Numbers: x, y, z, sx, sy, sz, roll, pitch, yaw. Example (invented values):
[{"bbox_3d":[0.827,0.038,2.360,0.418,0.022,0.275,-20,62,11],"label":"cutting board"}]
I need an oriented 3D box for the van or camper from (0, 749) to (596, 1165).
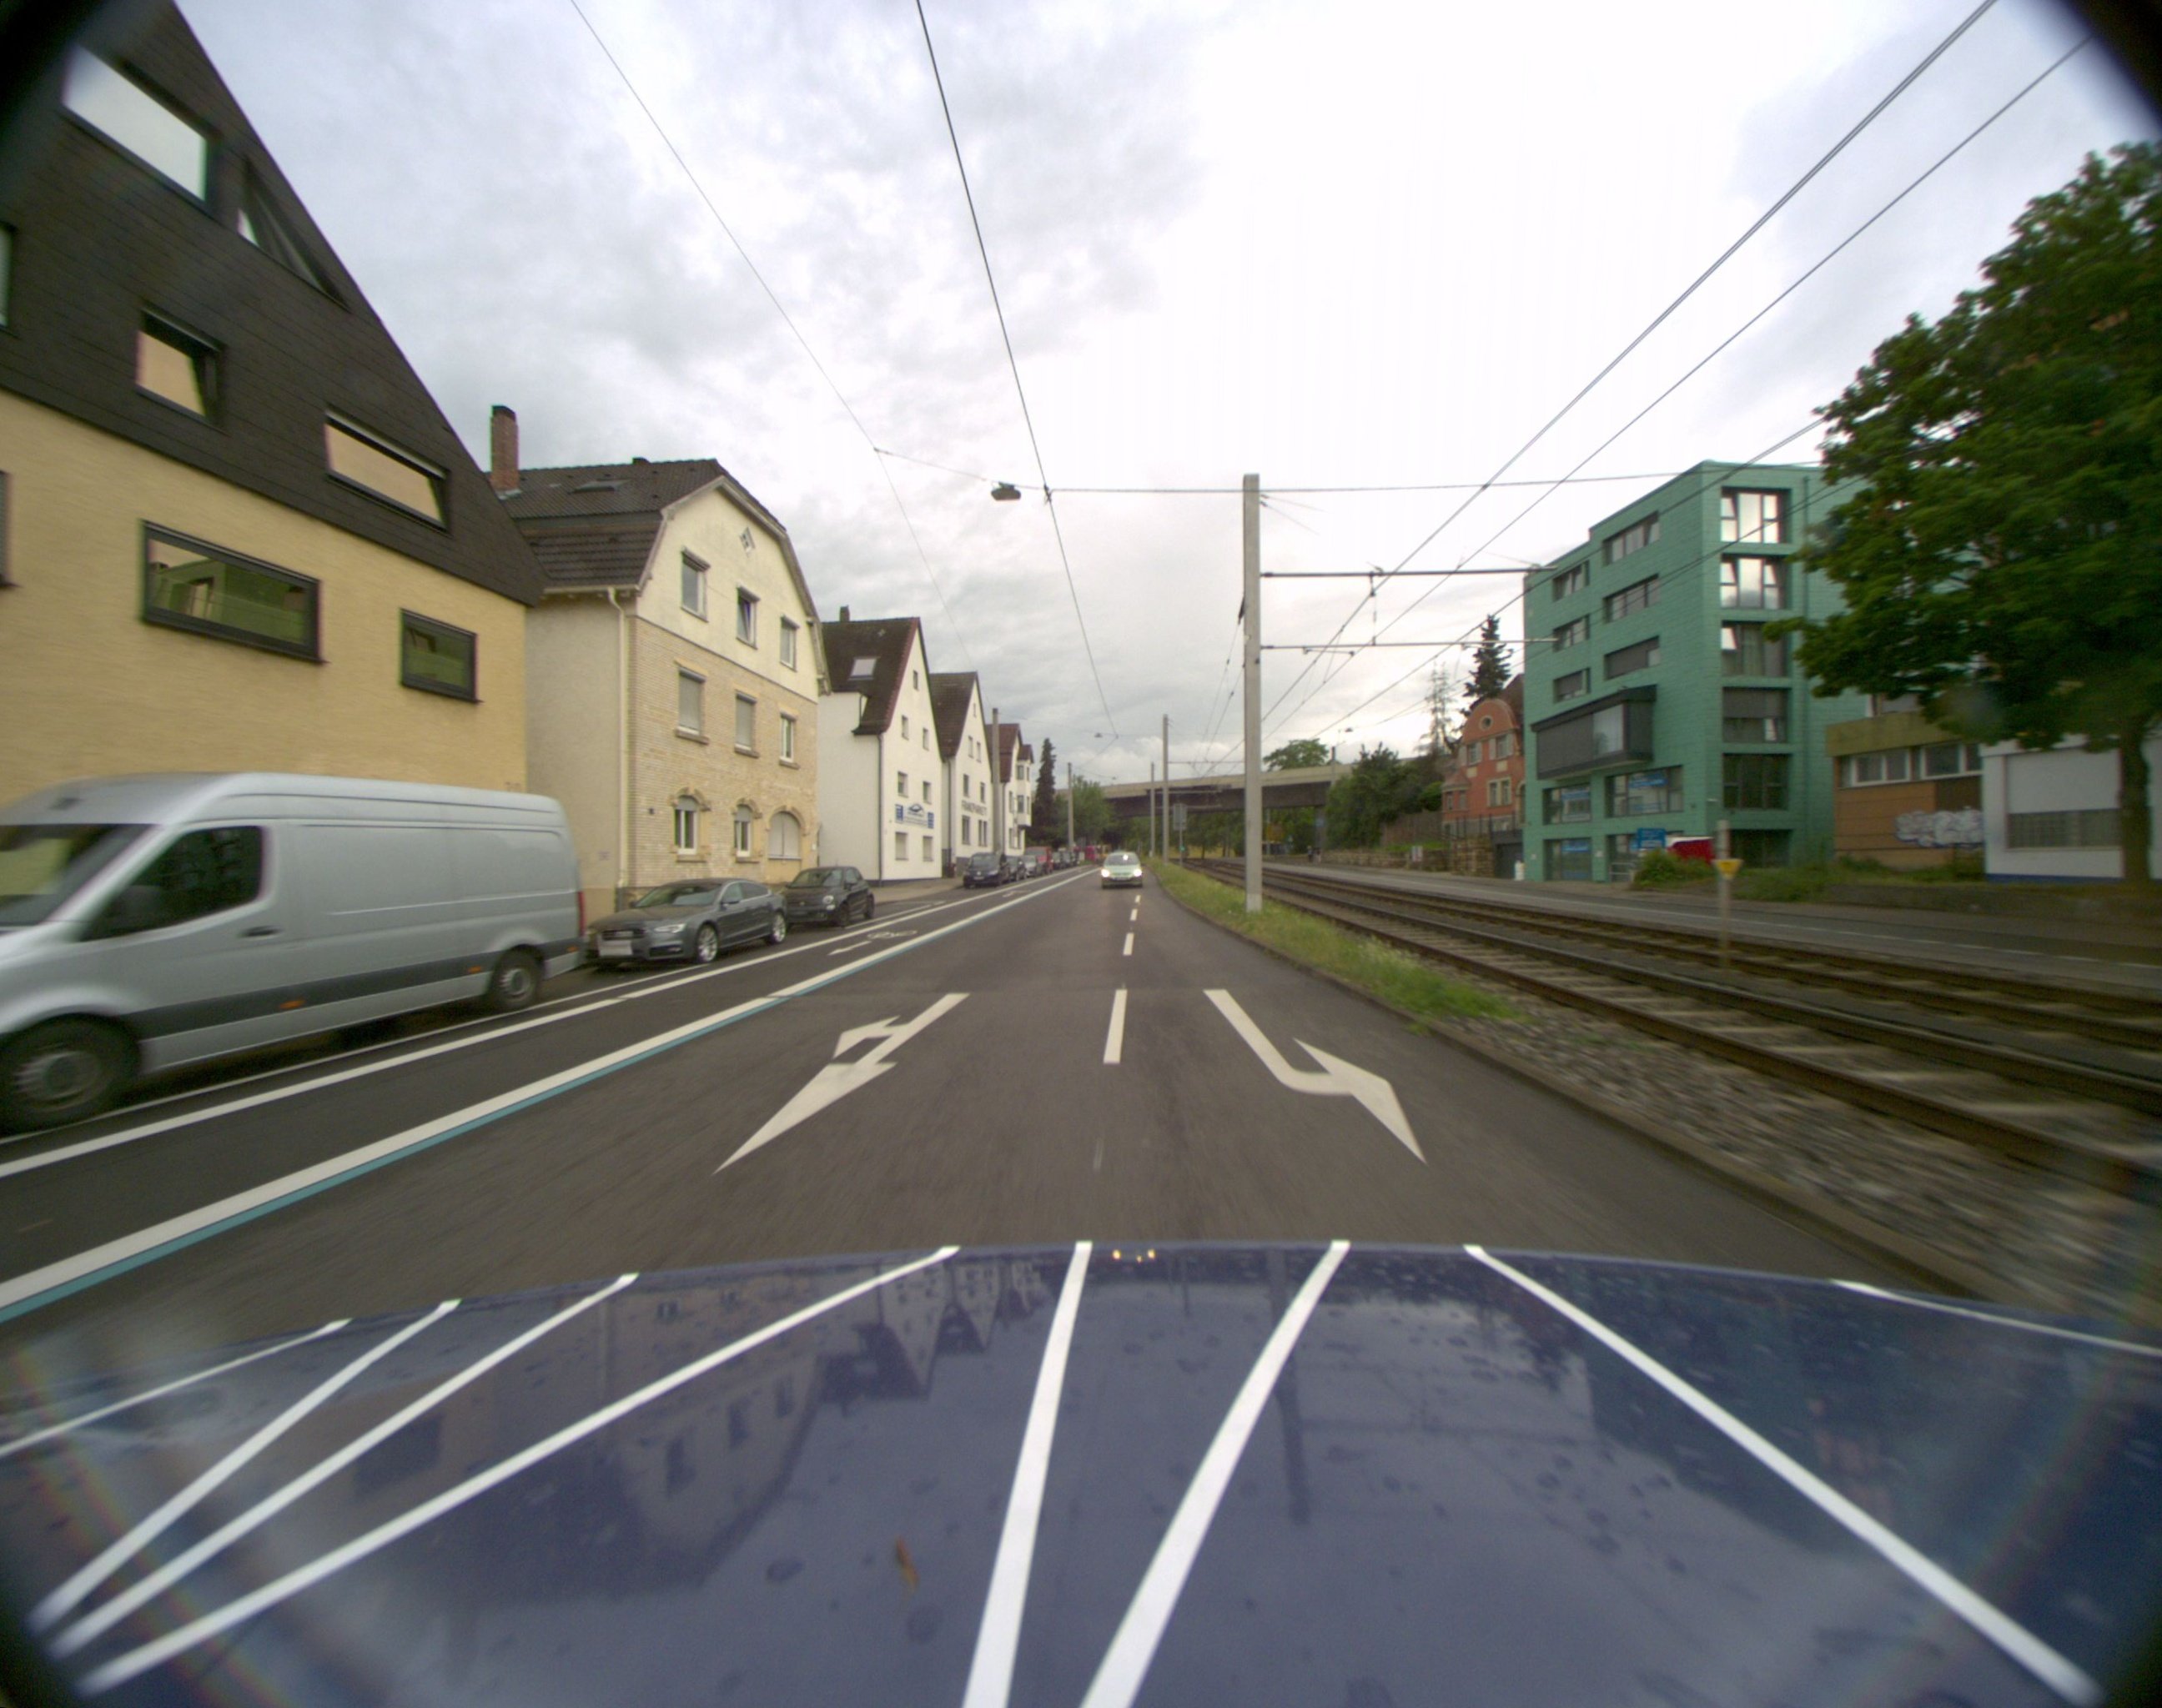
[{"bbox_3d":[-7.490,0.673,6.782,1.998,2.548,6.045,-2,0,4],"label":"van or camper"}]

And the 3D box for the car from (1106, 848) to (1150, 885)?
[{"bbox_3d":[1.978,0.540,32.733,1.780,1.492,4.001,0,-1,3],"label":"car"}]

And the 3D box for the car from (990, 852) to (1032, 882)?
[{"bbox_3d":[-3.960,0.694,43.542,1.637,1.529,4.136,-3,1,4],"label":"car"}]

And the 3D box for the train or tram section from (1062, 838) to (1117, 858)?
[{"bbox_3d":[1.549,-1.202,166.118,2.881,3.938,19.287,-3,1,-28],"label":"train or tram section"}]

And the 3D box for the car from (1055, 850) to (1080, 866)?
[{"bbox_3d":[-1.234,0.339,70.733,1.715,1.404,4.566,-1,1,6],"label":"car"}]

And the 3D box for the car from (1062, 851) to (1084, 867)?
[{"bbox_3d":[-0.798,0.471,76.178,1.680,1.415,4.566,-2,1,6],"label":"car"}]

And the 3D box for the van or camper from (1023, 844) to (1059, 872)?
[{"bbox_3d":[-2.835,0.238,54.738,1.855,1.909,4.995,0,1,5],"label":"van or camper"}]

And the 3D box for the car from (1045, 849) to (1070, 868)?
[{"bbox_3d":[-1.997,0.368,65.660,1.581,1.443,3.720,0,2,6],"label":"car"}]

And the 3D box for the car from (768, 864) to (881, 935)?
[{"bbox_3d":[-6.433,1.073,19.436,1.569,1.489,3.512,-3,1,1],"label":"car"}]

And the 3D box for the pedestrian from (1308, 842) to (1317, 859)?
[{"bbox_3d":[22.938,-0.383,75.350,0.695,1.660,0.888,-2,0,7],"label":"pedestrian"}]

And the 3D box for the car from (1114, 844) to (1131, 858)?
[{"bbox_3d":[4.560,-0.297,84.212,1.780,1.493,4.000,-1,1,2],"label":"car"}]

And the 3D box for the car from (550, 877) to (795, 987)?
[{"bbox_3d":[-6.892,1.223,13.509,1.793,1.398,4.552,-3,0,1],"label":"car"}]

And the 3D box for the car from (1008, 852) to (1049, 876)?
[{"bbox_3d":[-3.345,0.607,49.246,1.800,1.368,4.672,-1,1,7],"label":"car"}]

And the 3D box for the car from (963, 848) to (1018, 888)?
[{"bbox_3d":[-4.523,0.659,38.604,1.843,1.790,4.687,-3,1,4],"label":"car"}]

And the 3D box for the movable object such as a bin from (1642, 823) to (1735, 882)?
[{"bbox_3d":[23.872,-0.045,29.932,2.140,2.144,1.802,-3,0,-4],"label":"movable object such as a bin"}]

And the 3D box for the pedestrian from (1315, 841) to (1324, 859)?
[{"bbox_3d":[23.824,-0.419,75.928,0.695,1.820,0.867,-2,0,4],"label":"pedestrian"}]

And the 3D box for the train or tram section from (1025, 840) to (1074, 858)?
[{"bbox_3d":[-7.857,-1.043,183.014,2.881,3.948,19.285,-3,1,-30],"label":"train or tram section"}]
